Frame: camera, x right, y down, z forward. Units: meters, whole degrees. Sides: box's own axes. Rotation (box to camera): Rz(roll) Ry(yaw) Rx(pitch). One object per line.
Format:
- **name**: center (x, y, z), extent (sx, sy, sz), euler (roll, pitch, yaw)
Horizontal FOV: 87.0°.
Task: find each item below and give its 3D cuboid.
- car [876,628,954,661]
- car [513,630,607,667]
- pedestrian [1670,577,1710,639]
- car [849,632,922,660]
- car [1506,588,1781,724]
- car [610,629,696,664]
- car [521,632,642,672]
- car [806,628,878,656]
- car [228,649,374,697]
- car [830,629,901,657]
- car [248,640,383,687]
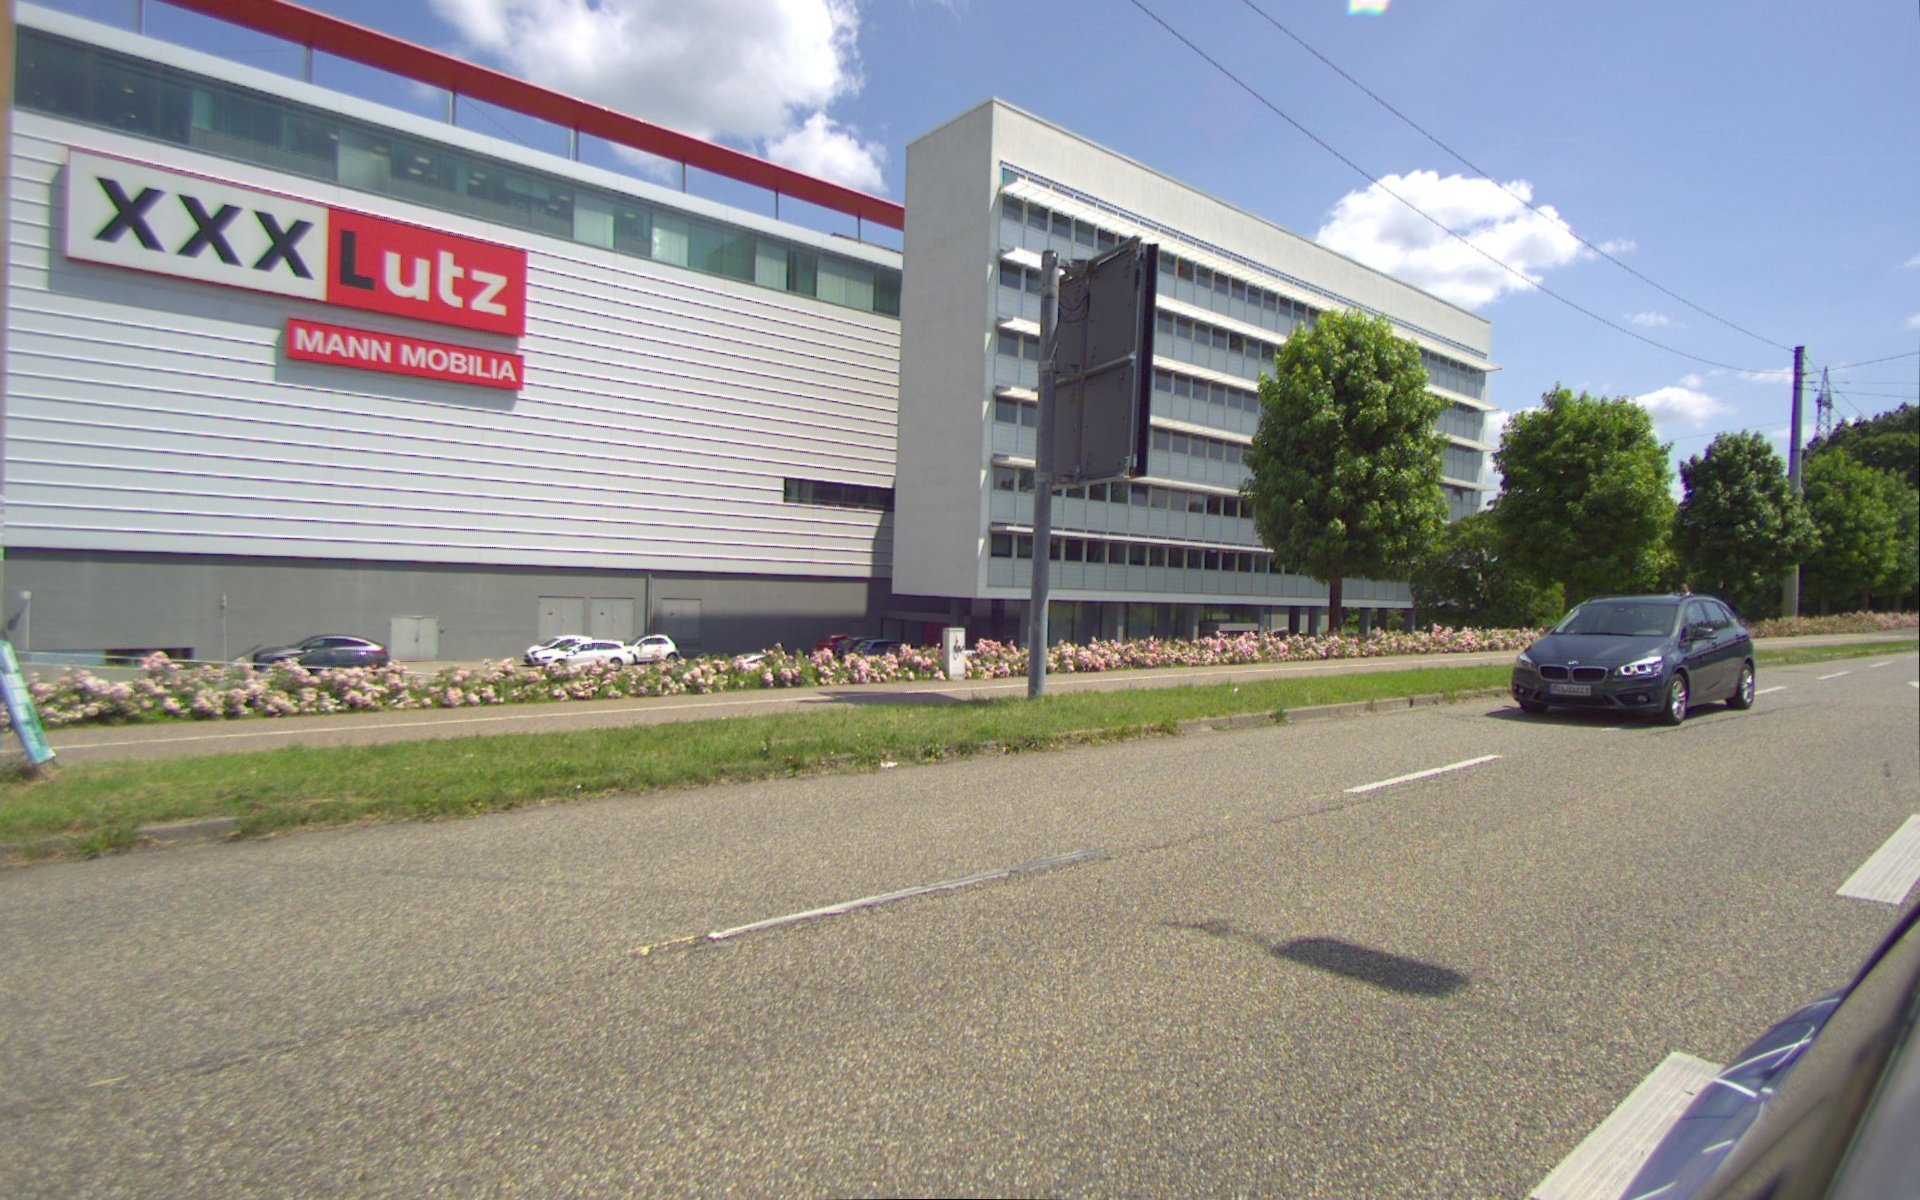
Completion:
- **car**: center (-2.443, 2.419, 55.722), extent (3.930, 1.632, 1.997), euler (0, 0, -41)
- **car**: center (-19.909, 2.373, 50.434), extent (3.930, 1.632, 1.997), euler (0, 0, -41)
- **pedestrian**: center (22.218, 0.237, 30.803), extent (0.913, 1.872, 0.758), euler (0, 0, -38)
- **car**: center (-4.192, 2.578, 57.228), extent (3.930, 1.338, 1.607), euler (-1, 0, -41)
- **car**: center (9.151, 0.637, 13.460), extent (4.022, 1.546, 1.766), euler (0, 0, -36)
- **car**: center (-16.251, 2.450, 53.702), extent (3.930, 1.632, 1.997), euler (0, 0, -41)
- **car**: center (-18.049, 2.451, 48.433), extent (5.057, 1.632, 1.997), euler (-1, 0, -41)
- **car**: center (-7.115, 2.511, 61.353), extent (3.930, 1.465, 1.997), euler (-1, 0, -41)
- **car**: center (-24.330, 2.643, 37.445), extent (4.278, 1.416, 1.996), euler (-1, 1, -42)
- **car**: center (-5.464, 2.477, 58.951), extent (3.930, 1.403, 1.646), euler (-1, 0, -41)
- **car**: center (-26.603, 2.561, 41.834), extent (4.509, 1.632, 1.997), euler (-1, 0, -41)
